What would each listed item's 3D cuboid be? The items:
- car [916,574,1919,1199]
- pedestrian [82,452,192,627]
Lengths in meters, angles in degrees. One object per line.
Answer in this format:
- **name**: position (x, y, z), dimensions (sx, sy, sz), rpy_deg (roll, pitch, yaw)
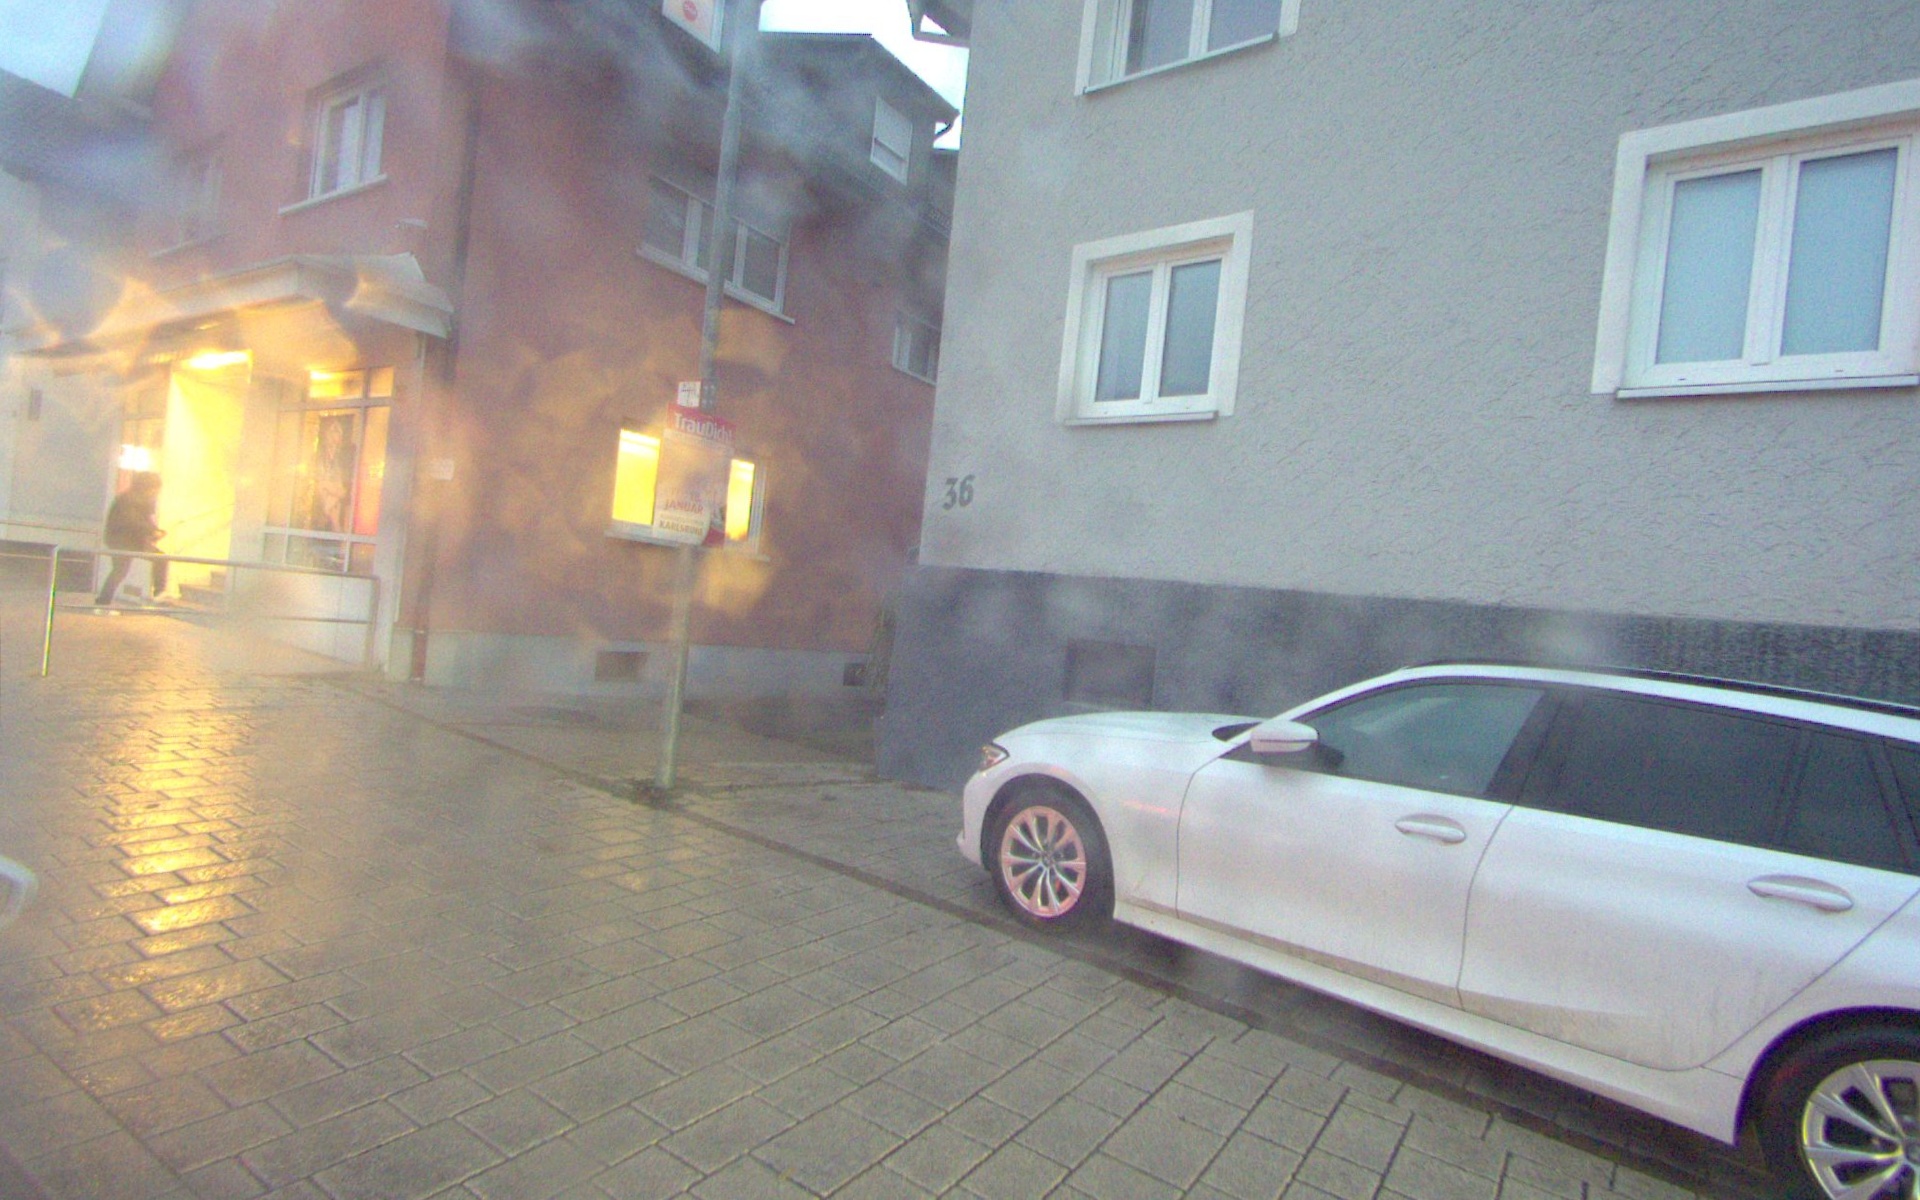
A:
- **car**: position (2.143, 0.889, 3.987), dimensions (4.478, 1.485, 1.880), rpy_deg (7, 1, 41)
- **pedestrian**: position (-9.619, -0.704, 11.754), dimensions (0.812, 1.910, 0.663), rpy_deg (6, -1, 38)
